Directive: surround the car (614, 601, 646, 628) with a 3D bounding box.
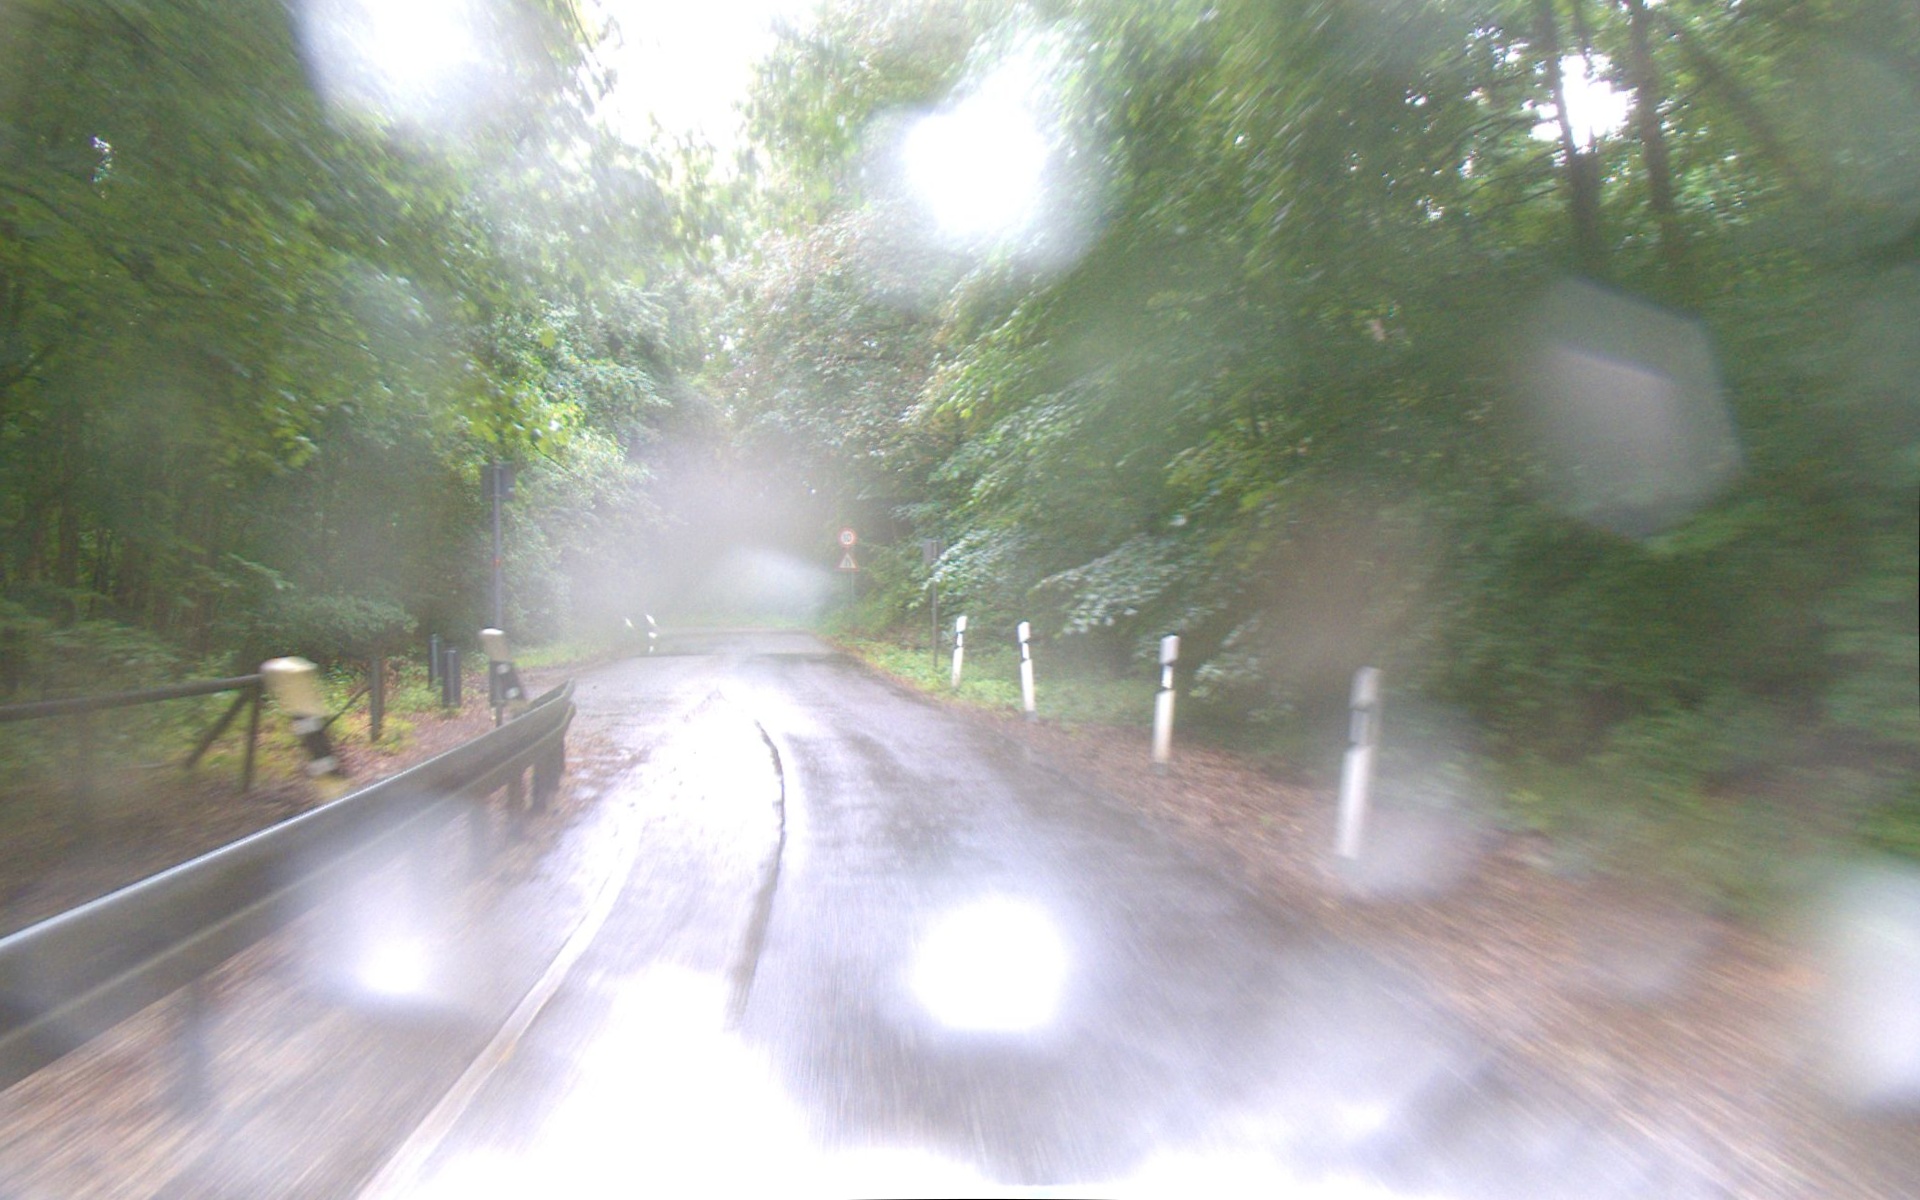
[{"bbox_3d":[-19.300,0.844,96.528,1.684,1.501,3.877,-1,0,-13],"label":"car"}]
